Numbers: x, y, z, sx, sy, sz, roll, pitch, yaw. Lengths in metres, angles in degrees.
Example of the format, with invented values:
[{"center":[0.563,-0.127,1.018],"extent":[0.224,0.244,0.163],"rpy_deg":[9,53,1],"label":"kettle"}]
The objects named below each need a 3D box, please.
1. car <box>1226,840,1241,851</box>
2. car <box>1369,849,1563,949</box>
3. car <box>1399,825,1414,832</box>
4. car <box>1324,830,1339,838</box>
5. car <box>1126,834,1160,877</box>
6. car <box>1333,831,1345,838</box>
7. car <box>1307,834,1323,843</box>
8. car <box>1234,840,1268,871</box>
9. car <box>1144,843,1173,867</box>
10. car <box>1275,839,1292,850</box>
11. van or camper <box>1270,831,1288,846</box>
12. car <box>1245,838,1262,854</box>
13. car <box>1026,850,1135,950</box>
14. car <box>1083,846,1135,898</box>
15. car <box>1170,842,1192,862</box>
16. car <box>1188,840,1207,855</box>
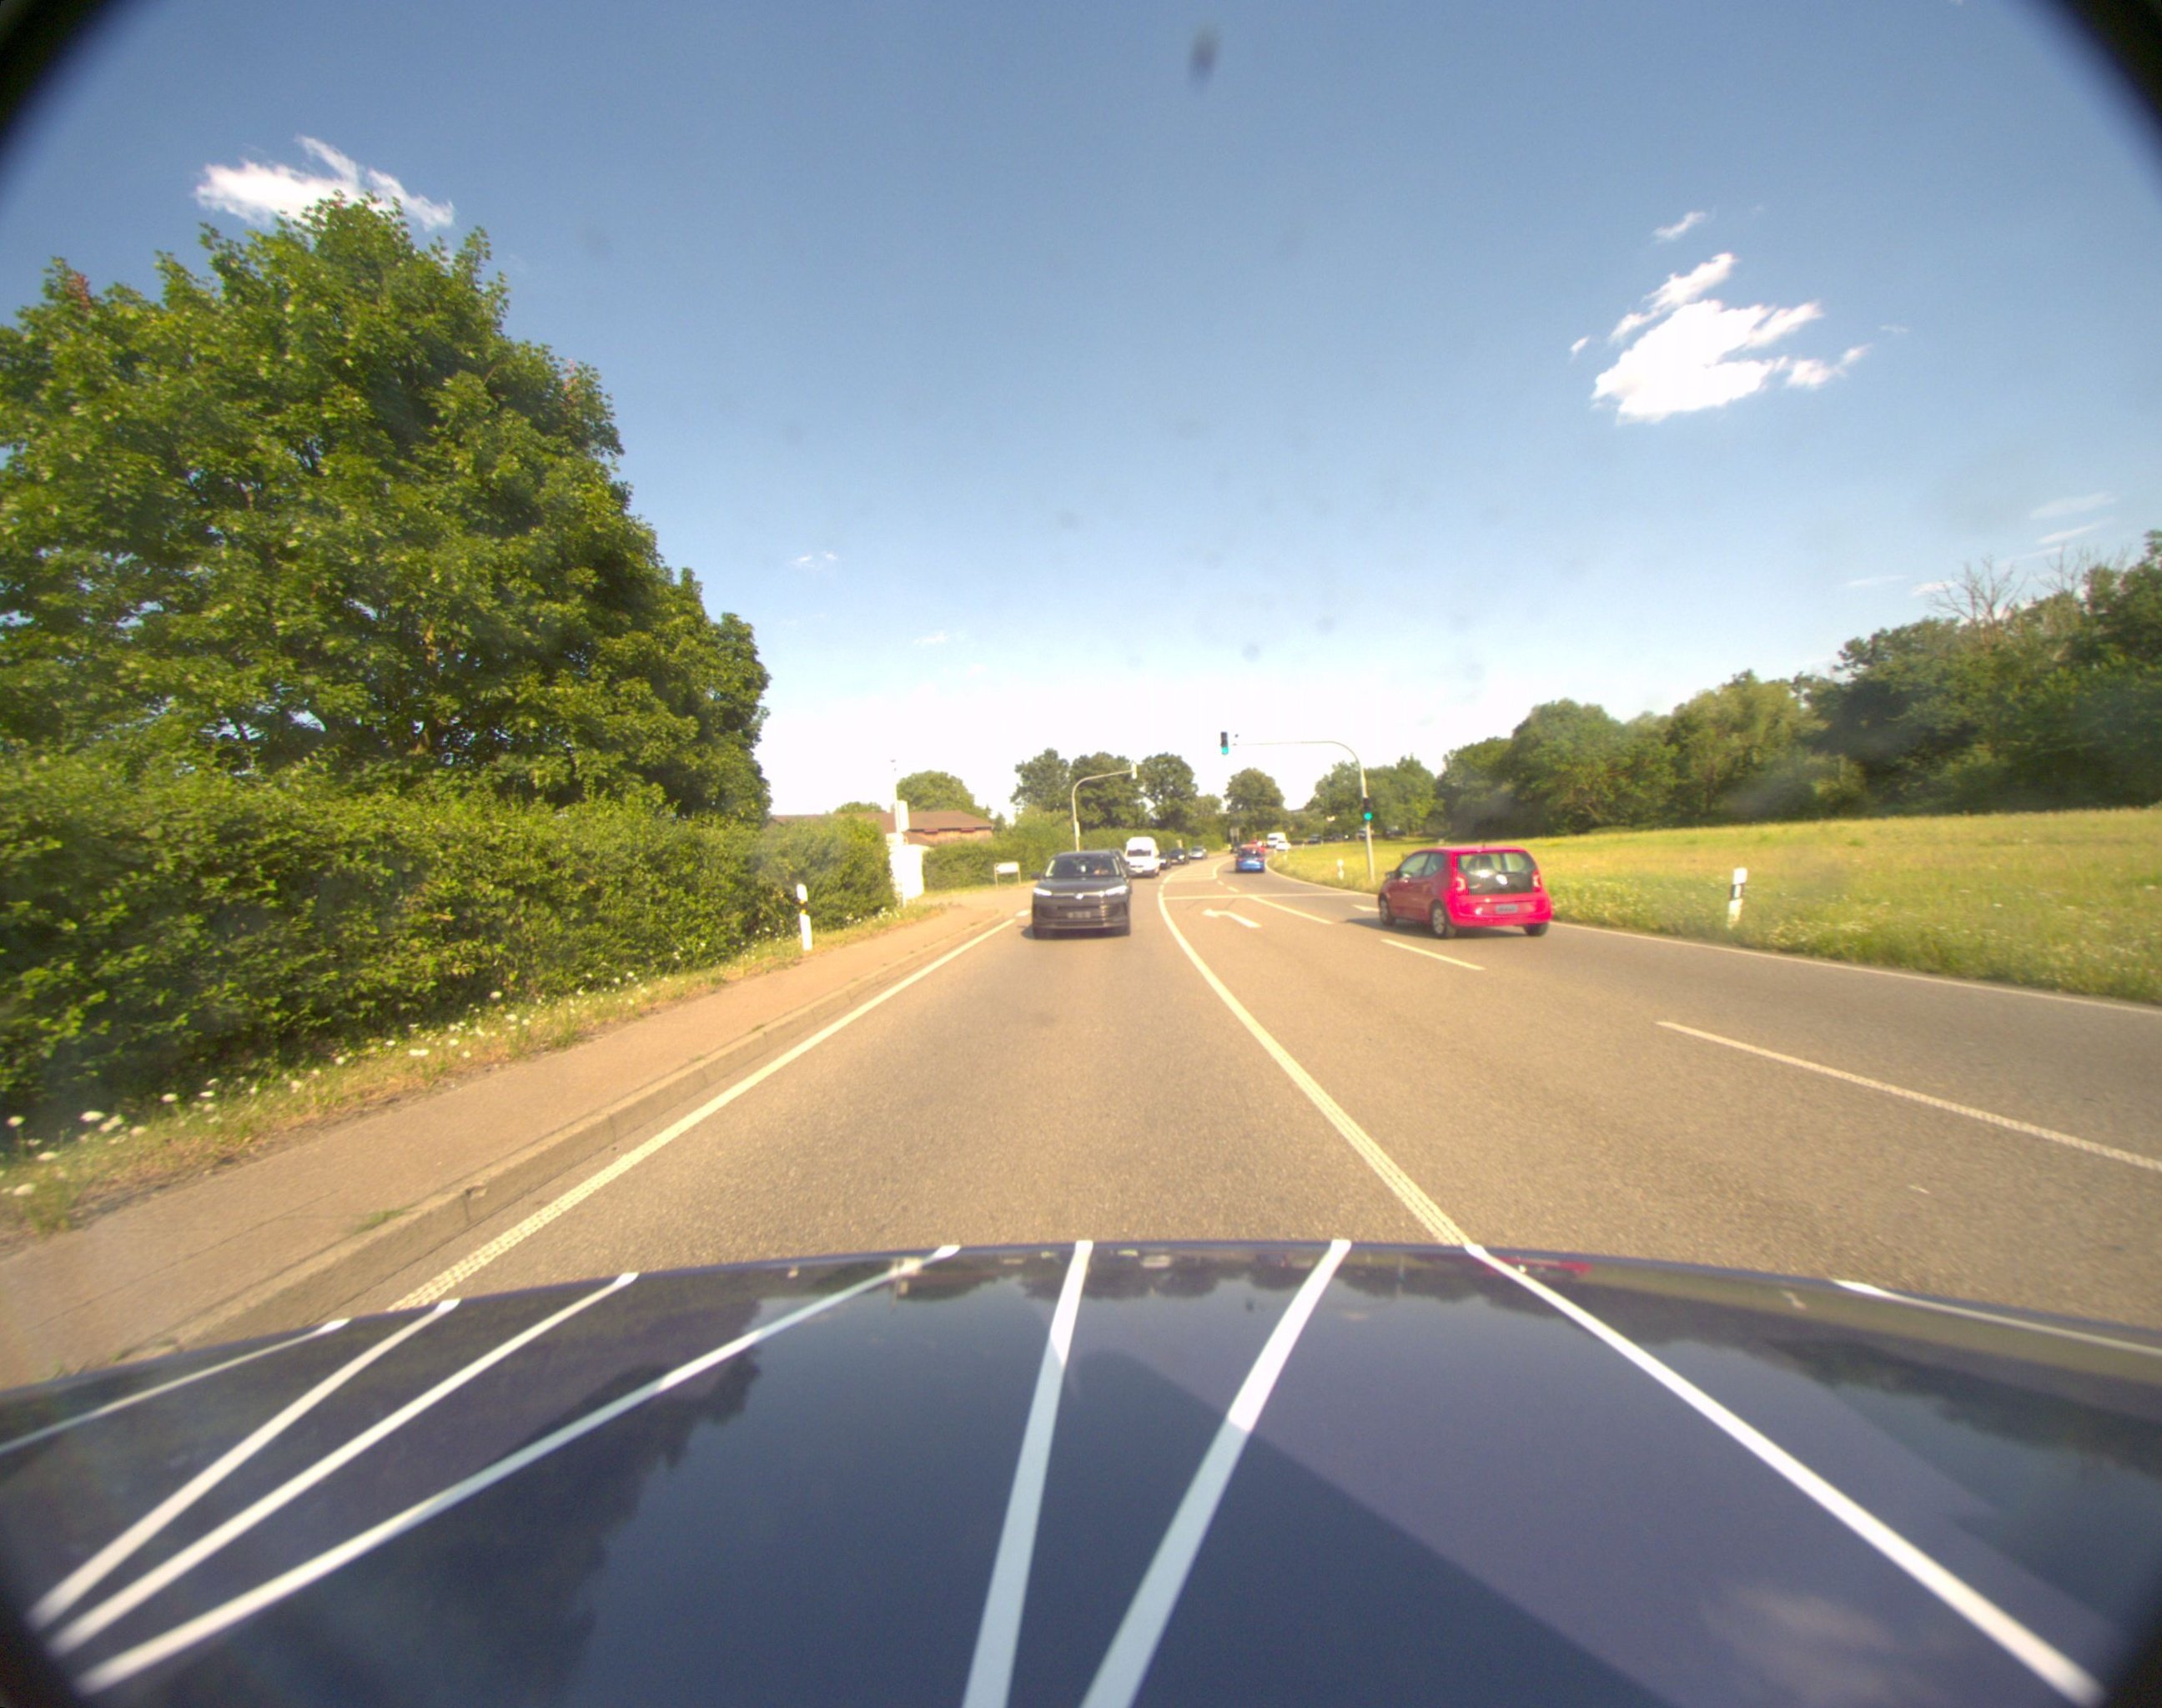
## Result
[{"center":[21.834,-1.247,108.544],"extent":[1.605,1.471,3.621],"rpy_deg":[0,1,20],"label":"car"},{"center":[6.381,0.665,13.045],"extent":[1.589,1.458,3.607],"rpy_deg":[-1,0,2],"label":"car"},{"center":[79.647,-6.198,186.033],"extent":[4.081,1.577,1.928],"rpy_deg":[-3,2,-45],"label":"car"},{"center":[55.868,-4.463,169.625],"extent":[1.995,1.543,4.007],"rpy_deg":[-5,0,35],"label":"car"},{"center":[3.653,0.049,44.742],"extent":[1.844,2.338,4.789],"rpy_deg":[-1,1,4],"label":"car"},{"center":[53.673,-4.126,158.041],"extent":[1.747,1.458,3.485],"rpy_deg":[-1,2,28],"label":"car"},{"center":[48.335,-3.240,156.825],"extent":[1.995,1.543,4.007],"rpy_deg":[-5,0,35],"label":"car"},{"center":[10.827,0.102,48.507],"extent":[1.728,1.871,4.338],"rpy_deg":[-1,0,8],"label":"car"},{"center":[5.907,0.060,57.817],"extent":[1.692,1.718,3.671],"rpy_deg":[-1,1,13],"label":"car"},{"center":[31.104,-1.401,116.497],"extent":[1.882,1.577,4.337],"rpy_deg":[-1,0,22],"label":"car"},{"center":[34.771,-2.717,133.590],"extent":[2.031,2.461,5.084],"rpy_deg":[-4,0,24],"label":"van or camper"},{"center":[20.371,-0.923,89.821],"extent":[1.883,1.765,4.326],"rpy_deg":[-1,0,13],"label":"car"},{"center":[0.093,0.792,15.235],"extent":[1.865,1.633,4.000],"rpy_deg":[-1,1,3],"label":"car"},{"center":[1.060,0.592,27.217],"extent":[1.659,1.720,3.805],"rpy_deg":[-1,0,4],"label":"car"},{"center":[9.049,-0.192,68.591],"extent":[1.672,1.718,3.671],"rpy_deg":[-2,2,12],"label":"car"},{"center":[13.004,-0.766,84.506],"extent":[1.633,1.550,3.420],"rpy_deg":[-1,2,16],"label":"car"}]
